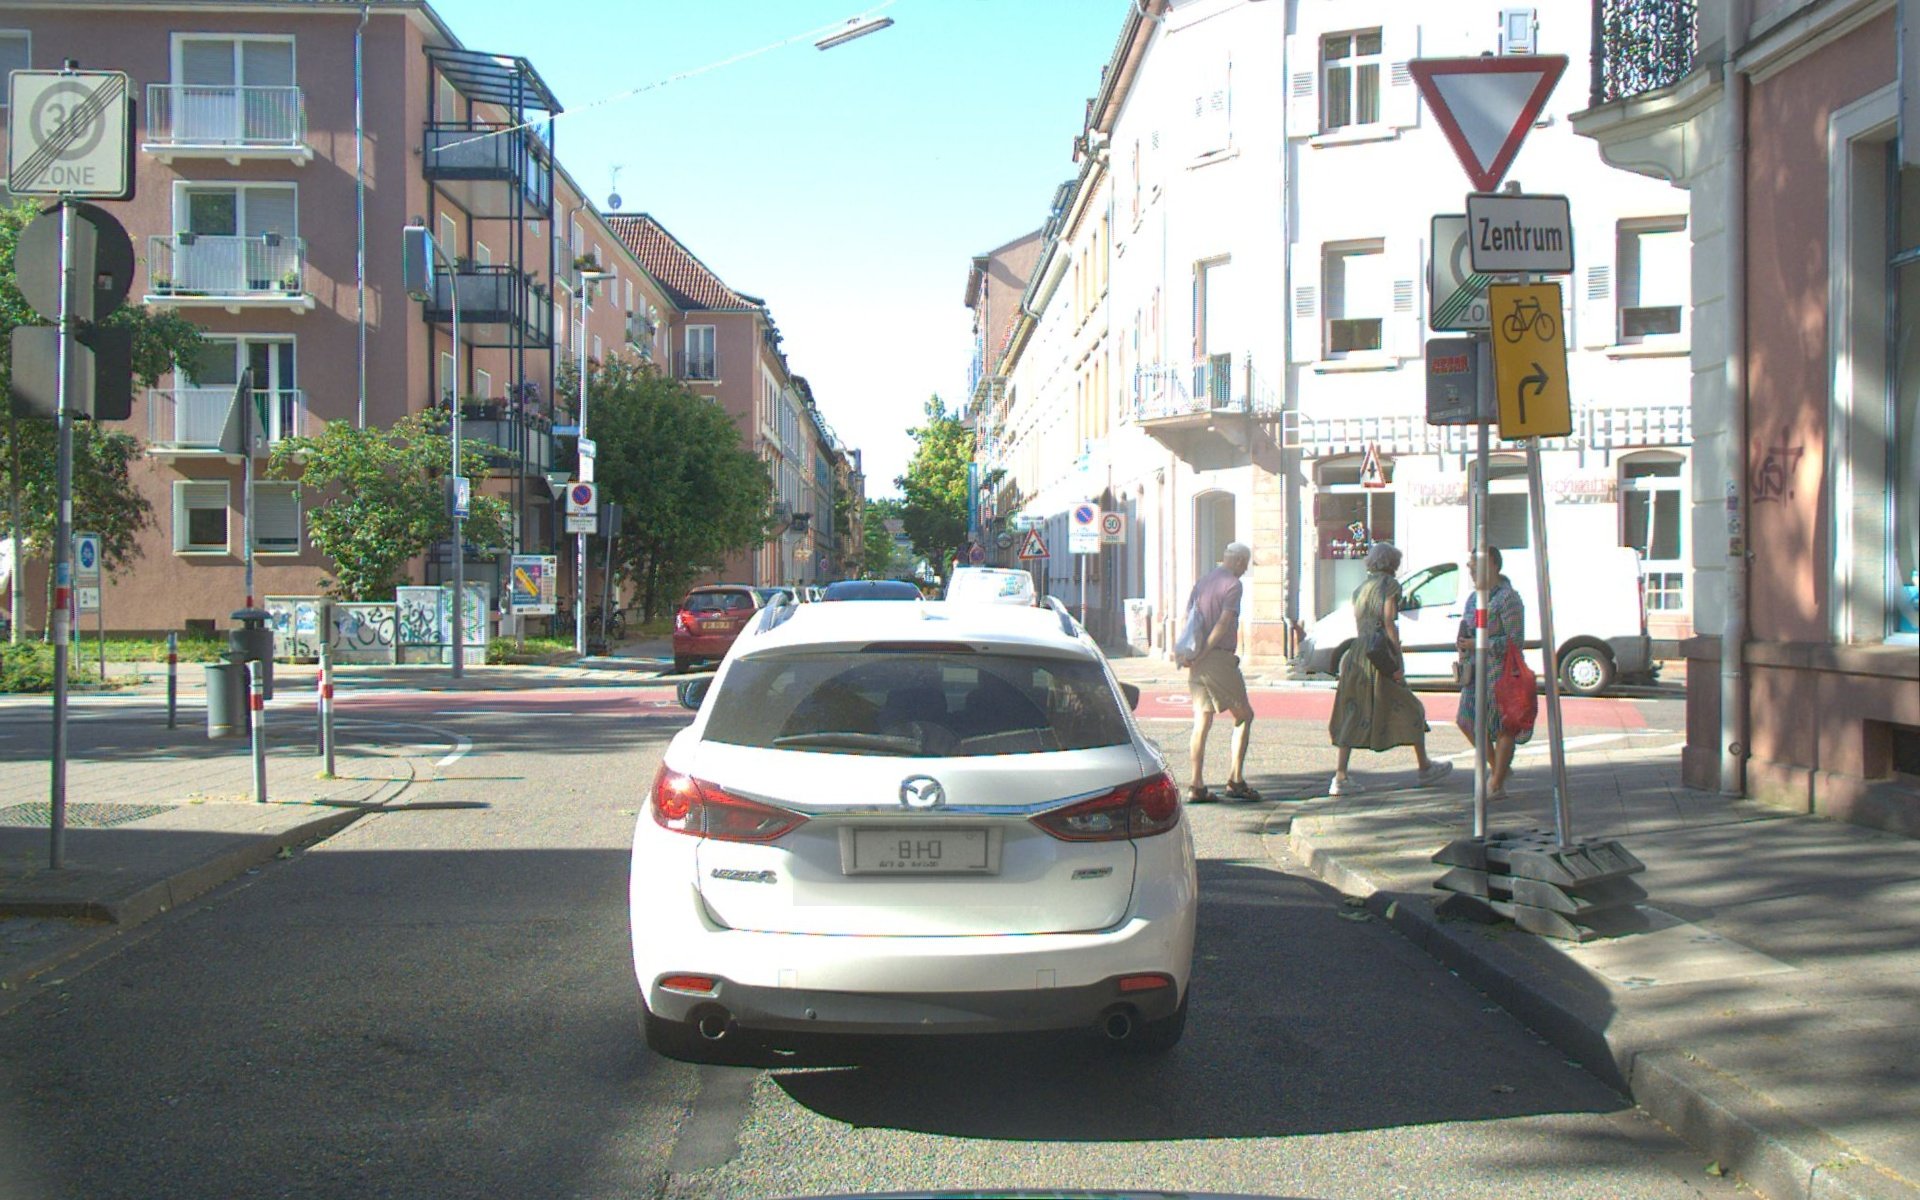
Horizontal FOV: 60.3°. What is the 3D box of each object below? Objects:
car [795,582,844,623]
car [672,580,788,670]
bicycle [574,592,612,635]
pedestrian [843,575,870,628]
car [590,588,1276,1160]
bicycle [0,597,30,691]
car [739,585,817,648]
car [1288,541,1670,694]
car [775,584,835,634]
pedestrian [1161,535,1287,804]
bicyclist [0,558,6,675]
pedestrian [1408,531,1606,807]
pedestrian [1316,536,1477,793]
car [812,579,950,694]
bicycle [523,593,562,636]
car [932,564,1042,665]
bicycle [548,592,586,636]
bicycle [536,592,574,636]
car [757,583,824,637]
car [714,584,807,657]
[{"bbox_3d":[-5.362,0.074,63.418,1.620,1.526,3.762,0,0,-1],"label":"car"},{"bbox_3d":[-4.212,0.425,30.778,1.650,1.526,3.806,-1,0,-1],"label":"car"},{"bbox_3d":[-9.439,0.345,42.507,1.196,1.090,0.252,0,0,38],"label":"bicycle"},{"bbox_3d":[-3.283,0.047,52.400,0.720,1.642,0.813,-1,0,-14],"label":"pedestrian"},{"bbox_3d":[-0.097,0.700,6.320,1.794,1.482,3.961,0,0,-1],"label":"car"},{"bbox_3d":[-13.361,0.576,21.737,1.907,1.219,0.630,0,0,-1],"label":"bicycle"},{"bbox_3d":[-4.577,0.372,42.003,1.620,1.526,3.762,0,0,-1],"label":"car"},{"bbox_3d":[7.226,0.210,23.161,4.906,1.980,2.051,0,0,21],"label":"car"},{"bbox_3d":[-4.954,0.267,53.116,1.620,1.526,3.762,0,0,-1],"label":"car"},{"bbox_3d":[1.815,0.463,11.468,0.734,1.795,0.830,0,0,-1],"label":"pedestrian"},{"bbox_3d":[-13.256,0.224,21.716,1.021,1.545,0.738,0,0,-1],"label":"bicyclist"},{"bbox_3d":[3.445,0.422,10.497,0.827,1.600,0.846,-5,0,-1],"label":"pedestrian"},{"bbox_3d":[3.049,0.450,11.617,0.819,1.696,0.626,-4,-3,-1],"label":"pedestrian"},{"bbox_3d":[-1.014,0.436,22.772,1.725,1.434,4.327,0,0,-1],"label":"car"},{"bbox_3d":[-10.506,0.360,41.628,1.193,1.053,0.290,0,0,38],"label":"bicycle"},{"bbox_3d":[0.488,0.257,34.665,1.857,1.891,5.011,2,0,-4],"label":"car"},{"bbox_3d":[-10.012,0.354,42.161,1.193,1.089,0.252,0,0,38],"label":"bicycle"},{"bbox_3d":[-10.269,0.343,41.900,1.193,1.091,0.265,0,0,38],"label":"bicycle"},{"bbox_3d":[-4.962,0.266,48.790,1.620,1.526,3.762,0,0,-1],"label":"car"},{"bbox_3d":[-4.396,0.416,36.884,1.620,1.526,4.079,0,0,-1],"label":"car"}]
